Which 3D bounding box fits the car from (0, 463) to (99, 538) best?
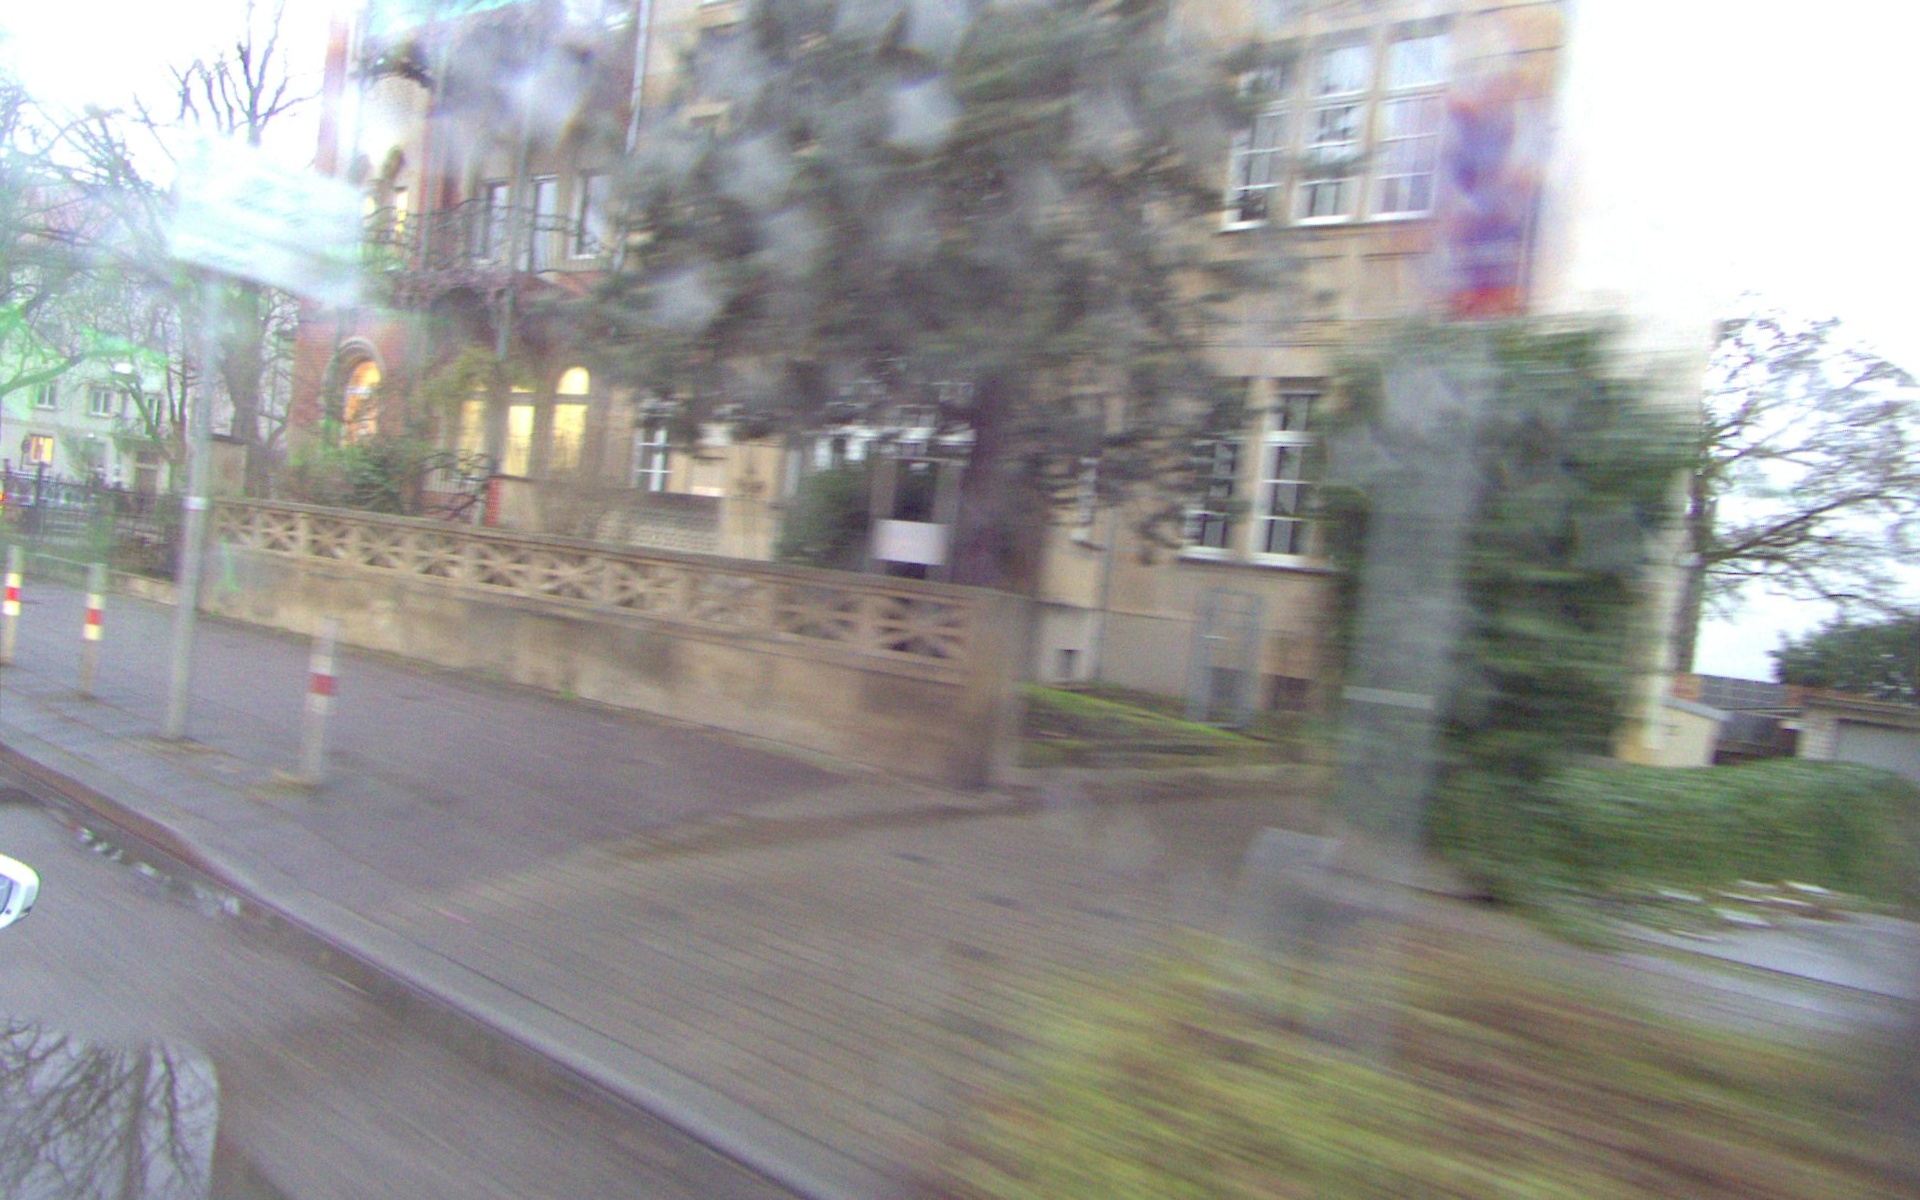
[{"bbox_3d":[-24.901,-2.655,26.465,1.687,1.682,3.989,7,0,-14],"label":"car"}]
